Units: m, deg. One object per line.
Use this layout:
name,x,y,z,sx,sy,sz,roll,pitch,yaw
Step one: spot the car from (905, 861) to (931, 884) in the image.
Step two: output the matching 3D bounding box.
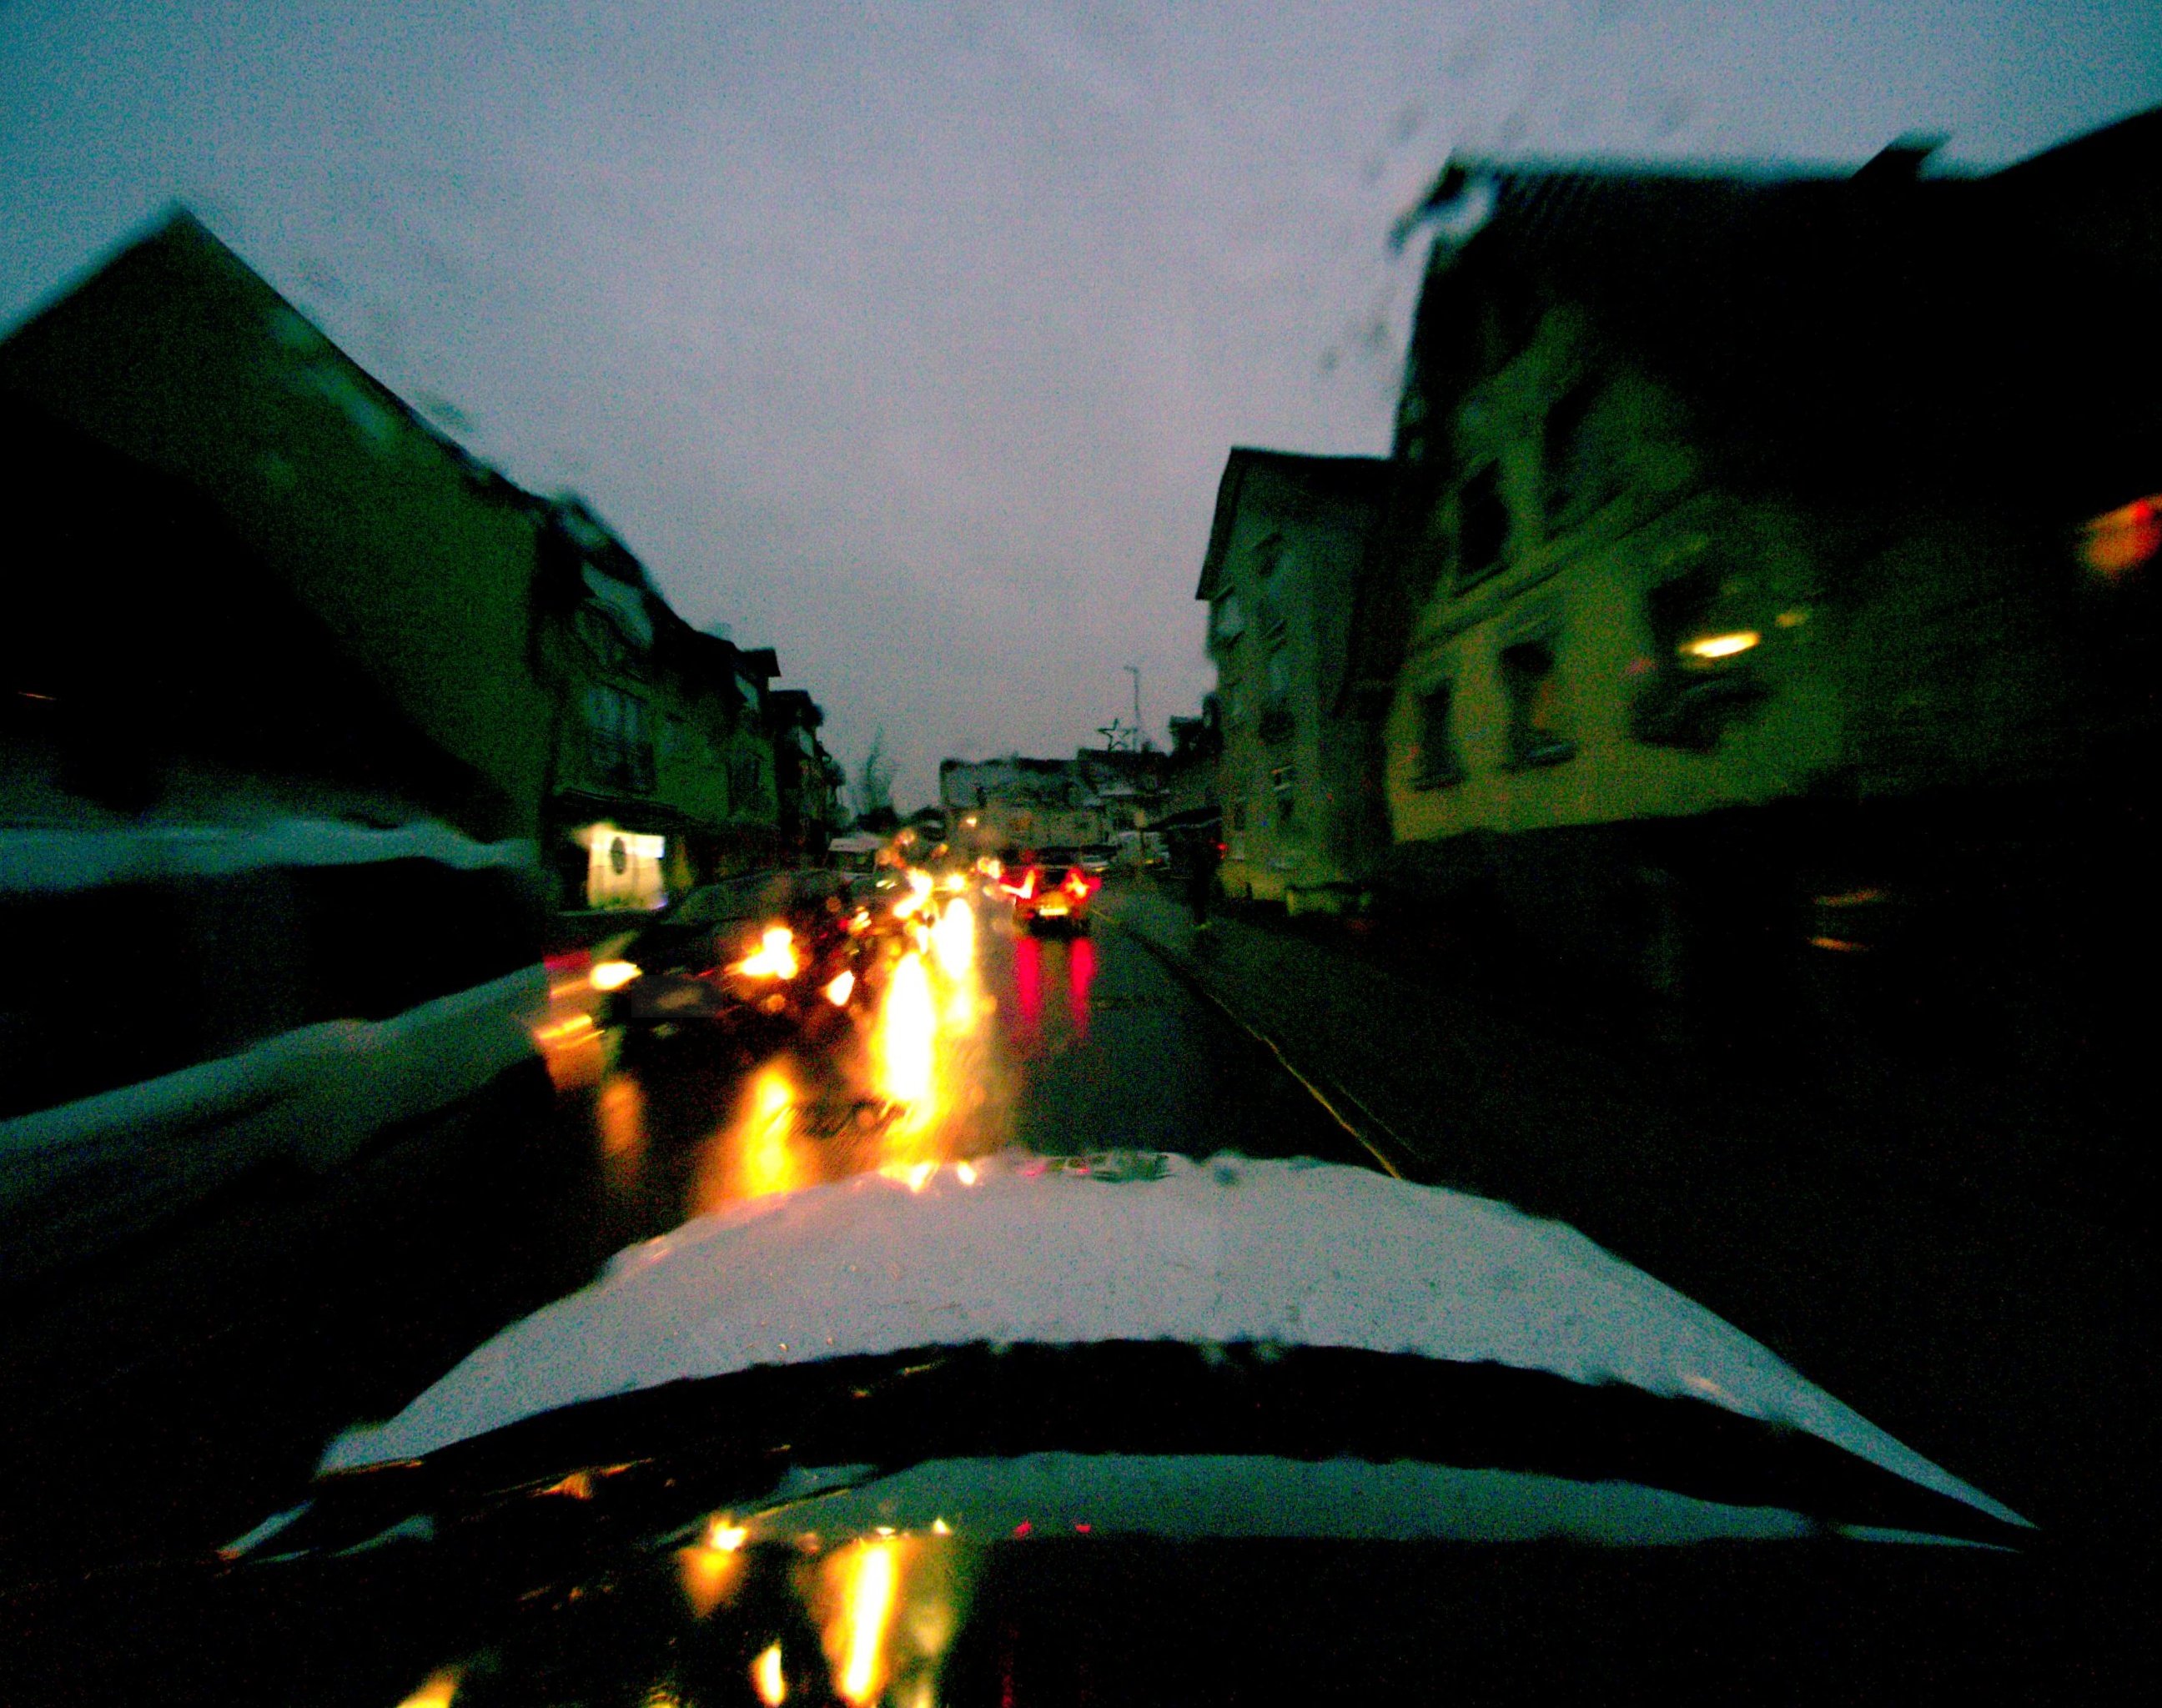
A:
car,-16.447,1.816,82.034,2.000,2.202,3.973,-1,-1,-20

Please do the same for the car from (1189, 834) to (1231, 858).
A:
car,10.080,-0.628,63.853,1.994,1.606,3.987,-6,1,-9

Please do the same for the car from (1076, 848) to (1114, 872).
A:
car,1.016,0.453,62.655,1.995,1.610,4.157,-4,-1,-12

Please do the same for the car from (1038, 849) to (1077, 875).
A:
car,-1.844,0.589,62.372,1.997,1.765,4.329,-4,0,-14

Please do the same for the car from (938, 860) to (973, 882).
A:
car,-9.773,1.308,63.186,1.999,1.588,3.975,-1,0,-18

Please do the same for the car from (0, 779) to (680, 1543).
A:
car,-3.232,0.644,2.402,1.947,1.546,4.412,-4,2,-2

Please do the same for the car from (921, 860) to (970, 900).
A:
car,-6.053,1.121,36.745,1.916,1.564,4.215,-4,0,-7

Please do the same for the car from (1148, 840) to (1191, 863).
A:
car,6.796,-0.166,63.052,1.792,1.553,3.979,-8,1,-15

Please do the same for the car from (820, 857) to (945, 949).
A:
car,-4.027,0.914,17.233,1.991,1.555,4.248,-2,1,-7

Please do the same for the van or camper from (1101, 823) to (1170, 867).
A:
van or camper,4.107,-0.624,63.354,2.661,3.047,6.688,-5,1,-20

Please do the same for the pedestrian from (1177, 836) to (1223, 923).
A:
pedestrian,2.447,0.504,16.843,0.743,1.729,0.872,-2,1,-1

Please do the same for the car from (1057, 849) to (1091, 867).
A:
car,-0.697,0.378,74.494,1.827,1.462,4.523,-4,1,-17

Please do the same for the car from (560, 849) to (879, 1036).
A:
car,-3.690,0.772,9.282,1.853,1.555,4.253,-2,0,-3

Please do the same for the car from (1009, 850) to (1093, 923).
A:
car,-0.725,0.716,19.674,1.810,1.533,3.996,-1,0,-2

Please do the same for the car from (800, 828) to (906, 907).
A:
car,-8.203,0.493,30.127,2.481,2.560,6.749,-1,-1,-5

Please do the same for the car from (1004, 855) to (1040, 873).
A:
car,-5.179,0.914,71.267,1.896,1.462,3.603,-2,0,-25
